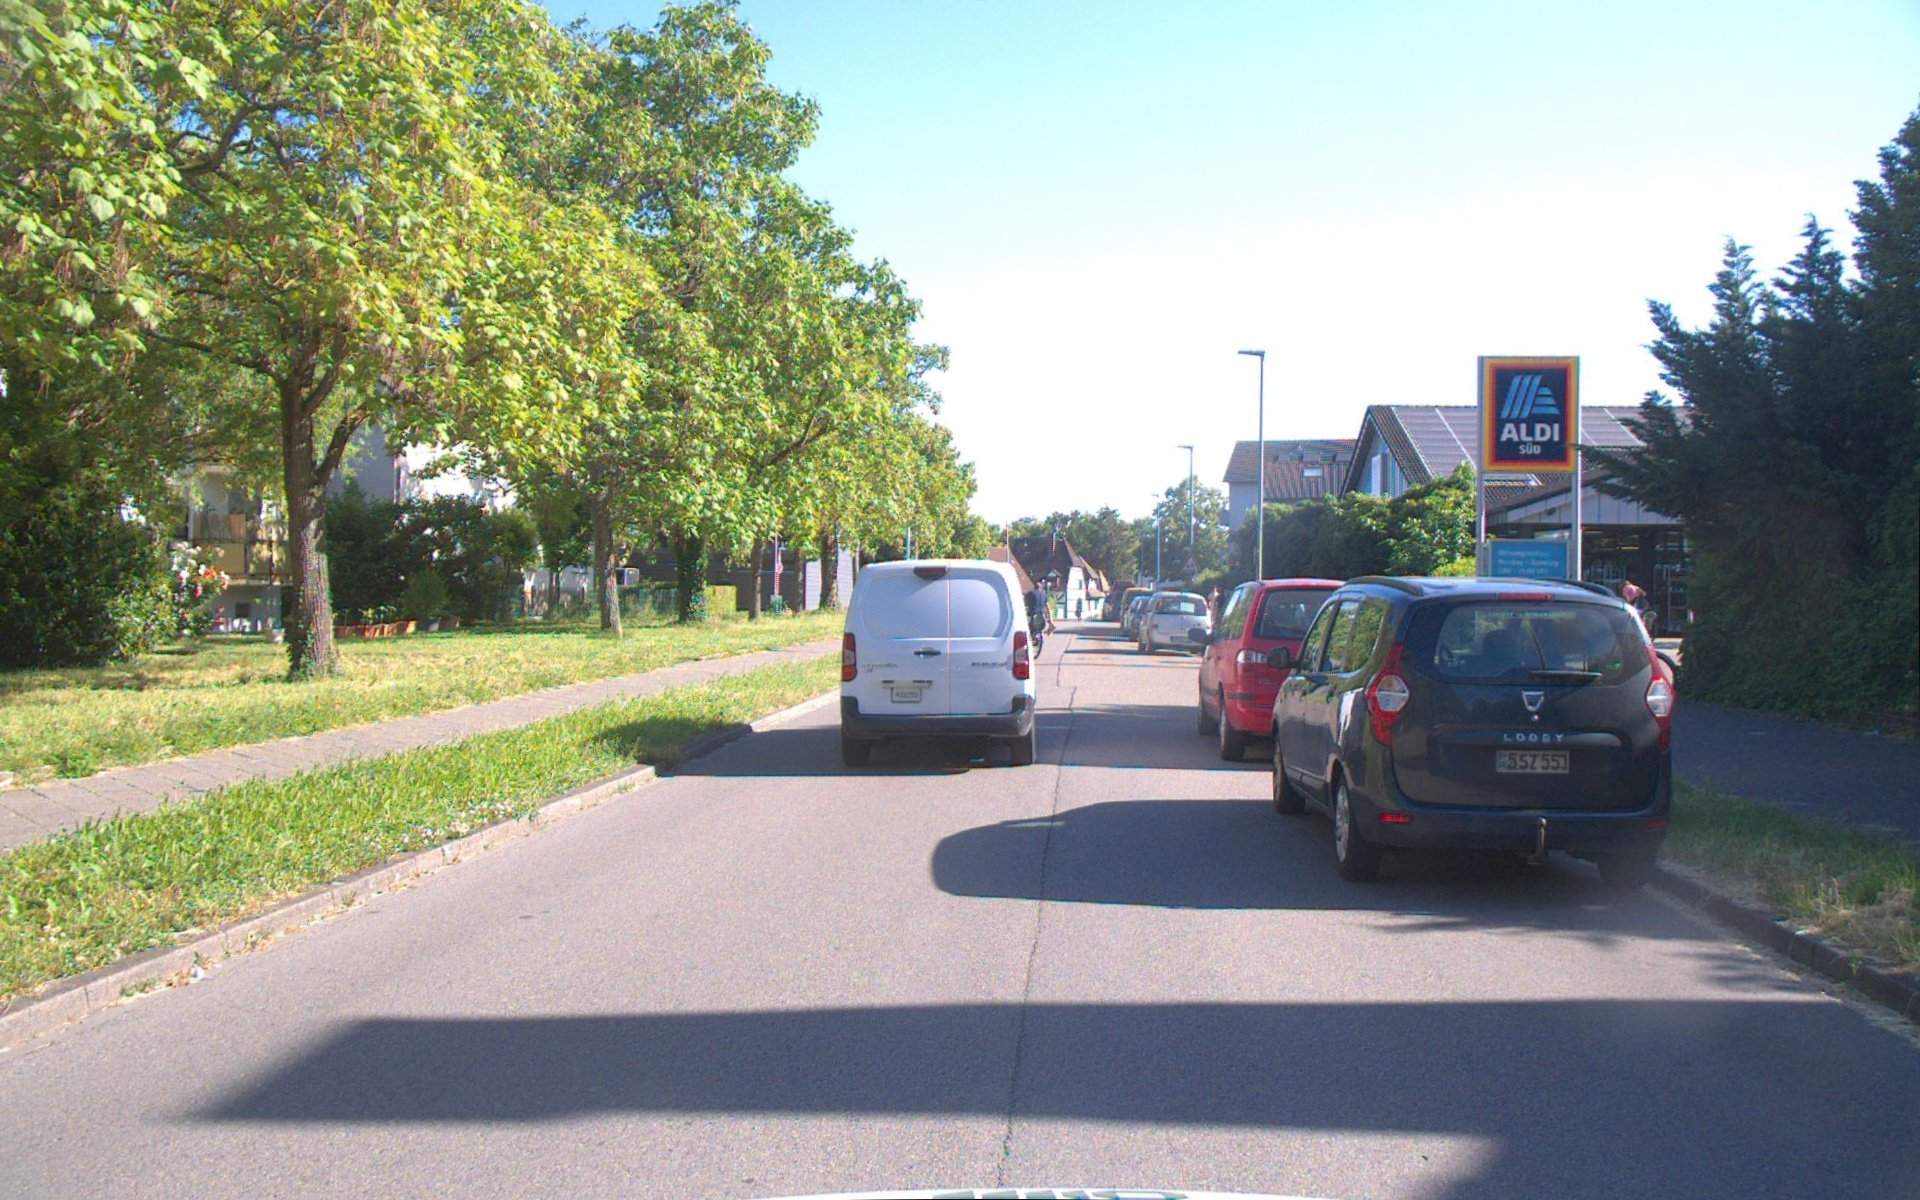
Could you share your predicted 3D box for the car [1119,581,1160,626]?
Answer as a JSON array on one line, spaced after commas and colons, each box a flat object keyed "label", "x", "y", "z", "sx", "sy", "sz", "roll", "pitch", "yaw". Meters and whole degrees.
[{"label": "car", "x": 7.833, "y": 0.143, "z": 72.436, "sx": 1.688, "sy": 1.869, "sz": 4.002, "roll": 1, "pitch": 0, "yaw": 5}]

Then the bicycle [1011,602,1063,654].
[{"label": "bicycle", "x": 1.776, "y": 0.639, "z": 38.634, "sx": 0.772, "sy": 1.158, "sz": 2.275, "roll": 0, "pitch": 0, "yaw": -9}]

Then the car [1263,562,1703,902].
[{"label": "car", "x": 3.010, "y": 0.639, "z": 10.460, "sx": 1.688, "sy": 1.685, "sz": 4.355, "roll": 0, "pitch": 0, "yaw": 4}]

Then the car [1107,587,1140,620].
[{"label": "car", "x": 9.799, "y": 0.231, "z": 99.292, "sx": 1.766, "sy": 1.816, "sz": 4.001, "roll": 3, "pitch": -1, "yaw": 3}]

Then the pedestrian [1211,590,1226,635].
[{"label": "pedestrian", "x": 9.634, "y": 0.446, "z": 61.617, "sx": 0.555, "sy": 1.665, "sz": 0.547, "roll": 0, "pitch": 0, "yaw": 10}]

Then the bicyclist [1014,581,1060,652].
[{"label": "bicyclist", "x": 1.795, "y": 0.384, "z": 38.615, "sx": 0.889, "sy": 1.612, "sz": 0.964, "roll": 1, "pitch": -1, "yaw": -9}]

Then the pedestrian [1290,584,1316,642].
[{"label": "pedestrian", "x": 10.809, "y": 0.395, "z": 52.121, "sx": 0.781, "sy": 1.813, "sz": 0.809, "roll": 0, "pitch": 0, "yaw": 12}]

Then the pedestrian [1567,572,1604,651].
[{"label": "pedestrian", "x": 13.370, "y": 0.236, "z": 35.333, "sx": 0.677, "sy": 1.660, "sz": 0.776, "roll": 0, "pitch": 0, "yaw": 25}]

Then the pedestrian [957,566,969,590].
[{"label": "pedestrian", "x": 0.190, "y": -1.370, "z": 101.453, "sx": 0.501, "sy": 1.471, "sz": 0.636, "roll": 0, "pitch": 0, "yaw": 37}]

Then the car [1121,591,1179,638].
[{"label": "car", "x": 6.336, "y": 0.458, "z": 55.367, "sx": 1.769, "sy": 1.468, "sz": 4.366, "roll": 1, "pitch": 0, "yaw": 5}]

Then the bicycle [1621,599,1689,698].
[{"label": "bicycle", "x": 9.125, "y": 0.626, "z": 21.762, "sx": 0.705, "sy": 1.242, "sz": 1.896, "roll": -2, "pitch": -1, "yaw": 20}]

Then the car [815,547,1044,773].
[{"label": "car", "x": -0.169, "y": 0.497, "z": 16.228, "sx": 1.952, "sy": 1.914, "sz": 4.290, "roll": 0, "pitch": 0, "yaw": 2}]

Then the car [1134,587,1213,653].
[{"label": "car", "x": 5.624, "y": 0.515, "z": 43.941, "sx": 1.645, "sy": 1.627, "sz": 4.028, "roll": 1, "pitch": 0, "yaw": 1}]

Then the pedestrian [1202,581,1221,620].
[{"label": "pedestrian", "x": 12.514, "y": 0.032, "z": 82.259, "sx": 0.778, "sy": 1.894, "sz": 0.874, "roll": 1, "pitch": 0, "yaw": -3}]

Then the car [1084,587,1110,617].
[{"label": "car", "x": 10.360, "y": 0.165, "z": 125.394, "sx": 1.766, "sy": 2.105, "sz": 4.001, "roll": 3, "pitch": -1, "yaw": 3}]

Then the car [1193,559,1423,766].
[{"label": "car", "x": 3.433, "y": 0.542, "z": 17.101, "sx": 1.801, "sy": 1.837, "sz": 4.656, "roll": 0, "pitch": 0, "yaw": 5}]

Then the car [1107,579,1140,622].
[{"label": "car", "x": 10.524, "y": 0.052, "z": 106.554, "sx": 1.827, "sy": 2.607, "sz": 4.769, "roll": 3, "pitch": -1, "yaw": 3}]
